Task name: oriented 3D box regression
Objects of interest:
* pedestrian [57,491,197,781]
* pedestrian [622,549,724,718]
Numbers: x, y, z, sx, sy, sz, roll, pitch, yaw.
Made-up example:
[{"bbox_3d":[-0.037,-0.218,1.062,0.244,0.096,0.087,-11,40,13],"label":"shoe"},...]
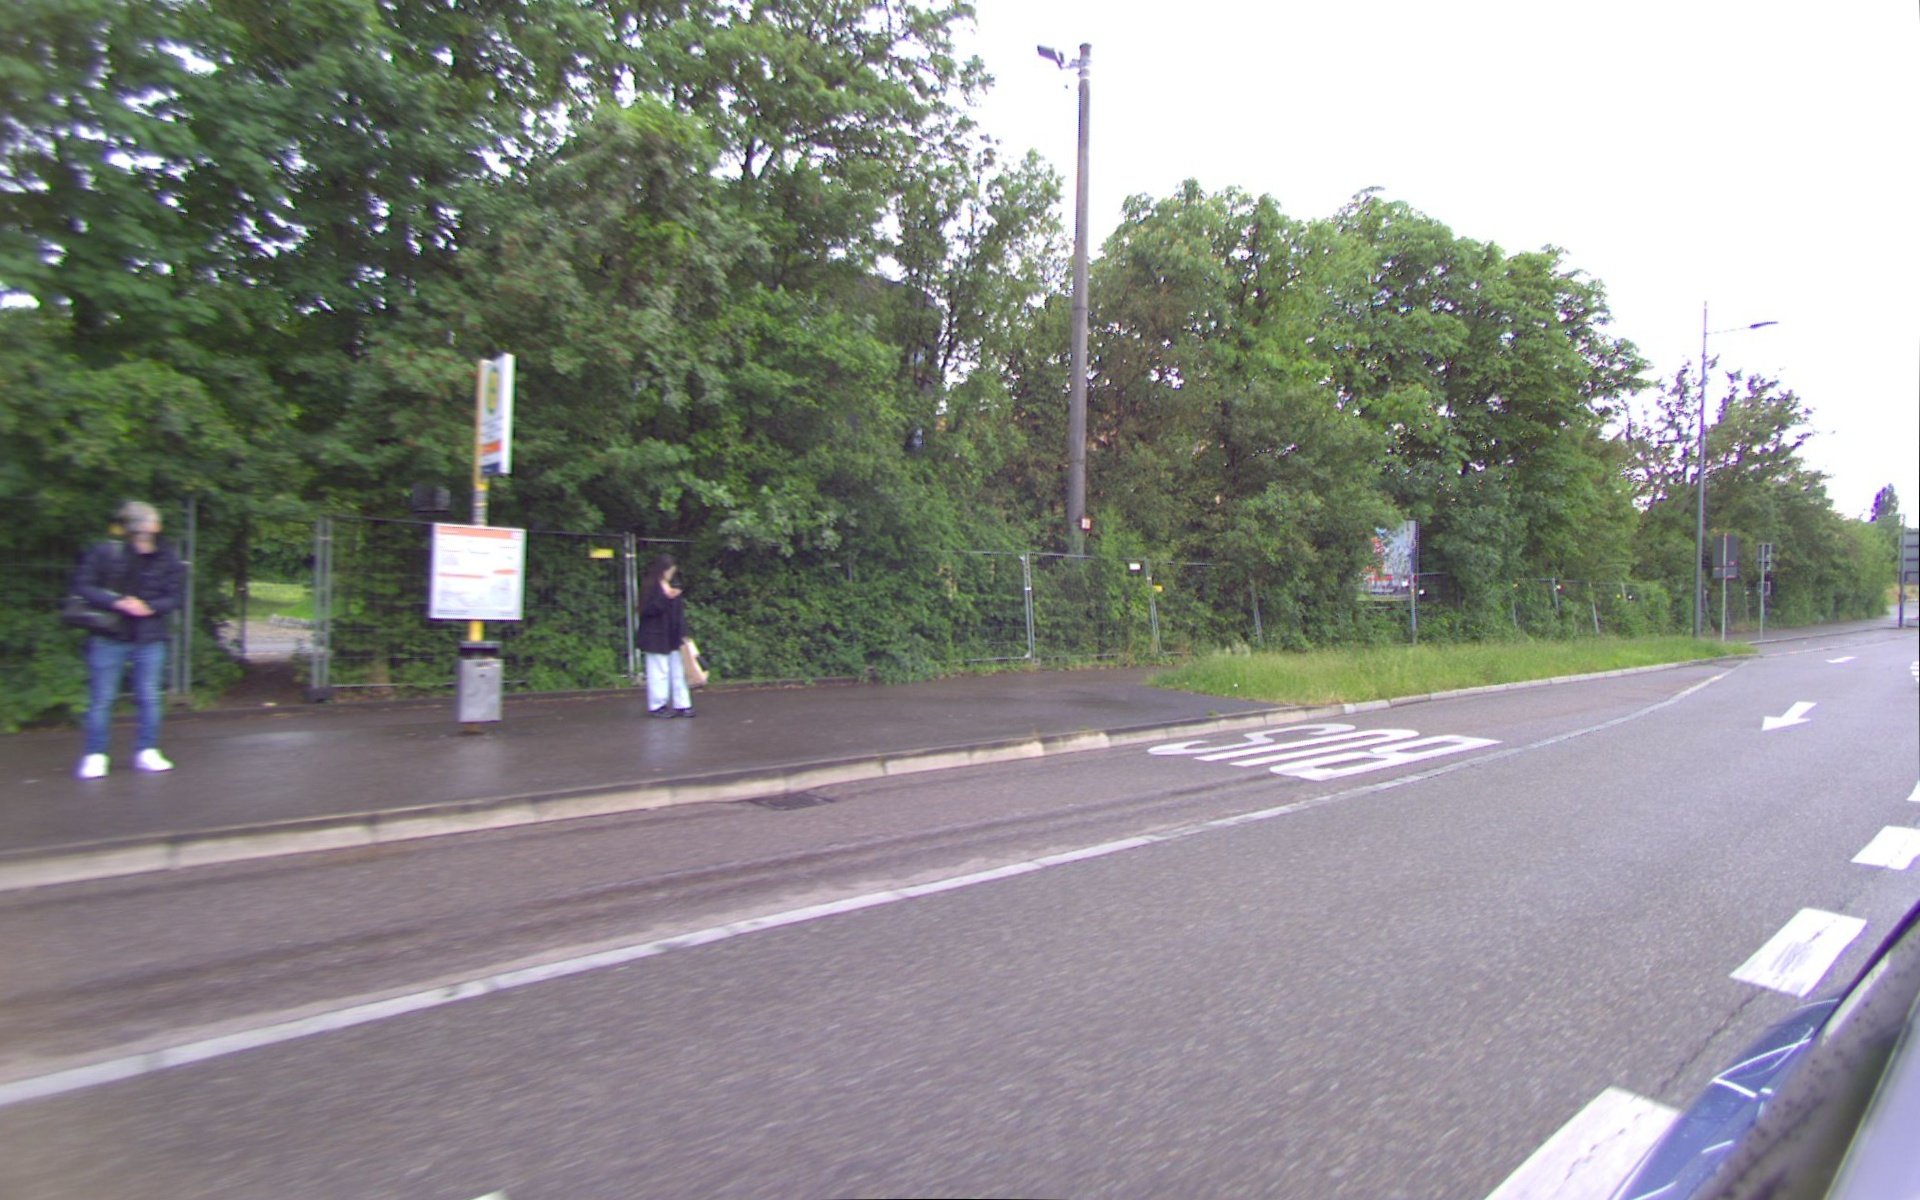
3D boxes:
[{"bbox_3d":[-5.935,0.230,7.212,0.641,1.924,0.707,2,1,45],"label":"pedestrian"},{"bbox_3d":[-2.992,0.321,10.559,0.676,1.678,0.780,2,1,45],"label":"pedestrian"}]
